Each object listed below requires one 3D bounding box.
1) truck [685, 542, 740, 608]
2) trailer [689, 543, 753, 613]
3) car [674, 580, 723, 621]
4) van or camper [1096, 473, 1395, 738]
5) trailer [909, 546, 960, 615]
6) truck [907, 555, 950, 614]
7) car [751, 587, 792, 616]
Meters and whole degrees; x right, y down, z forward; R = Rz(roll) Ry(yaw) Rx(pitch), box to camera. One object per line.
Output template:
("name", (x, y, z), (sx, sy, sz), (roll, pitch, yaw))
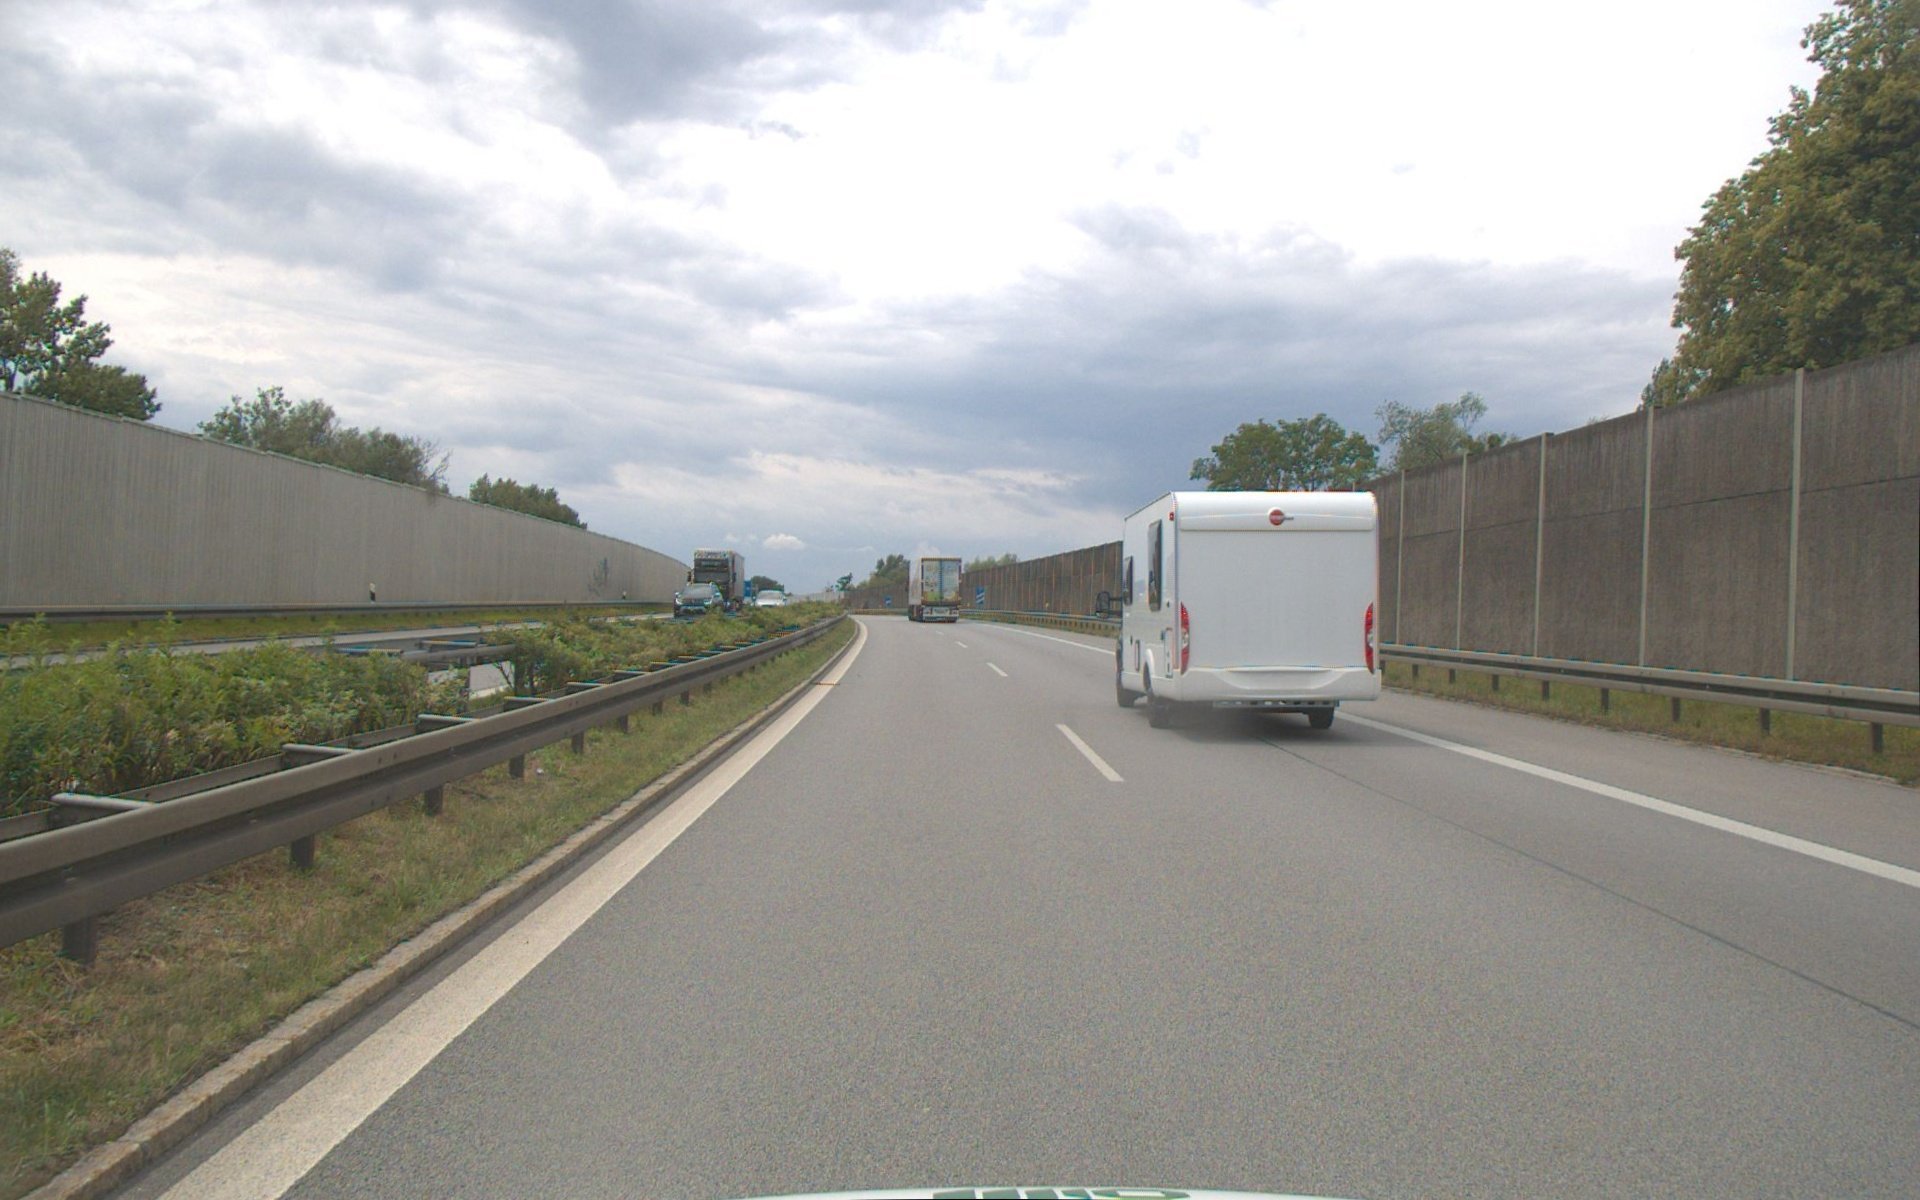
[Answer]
("truck", (-15.468, -1.510, 103.768), (2.816, 3.926, 6.070), (1, 0, -3))
("trailer", (-15.847, -1.372, 110.692), (2.922, 4.314, 14.170), (1, 0, -3))
("car", (-11.401, 0.022, 72.320), (1.682, 1.670, 4.700), (1, 0, -4))
("van or camper", (3.316, 0.057, 21.094), (2.380, 2.744, 7.223), (1, 0, -1))
("trailer", (-1.813, -1.163, 110.858), (2.737, 4.248, 14.091), (1, -1, -4))
("truck", (-2.275, -1.056, 117.405), (2.702, 4.029, 5.671), (1, -1, -4))
("car", (-10.791, 0.090, 94.922), (1.892, 1.576, 4.565), (1, 0, -2))
